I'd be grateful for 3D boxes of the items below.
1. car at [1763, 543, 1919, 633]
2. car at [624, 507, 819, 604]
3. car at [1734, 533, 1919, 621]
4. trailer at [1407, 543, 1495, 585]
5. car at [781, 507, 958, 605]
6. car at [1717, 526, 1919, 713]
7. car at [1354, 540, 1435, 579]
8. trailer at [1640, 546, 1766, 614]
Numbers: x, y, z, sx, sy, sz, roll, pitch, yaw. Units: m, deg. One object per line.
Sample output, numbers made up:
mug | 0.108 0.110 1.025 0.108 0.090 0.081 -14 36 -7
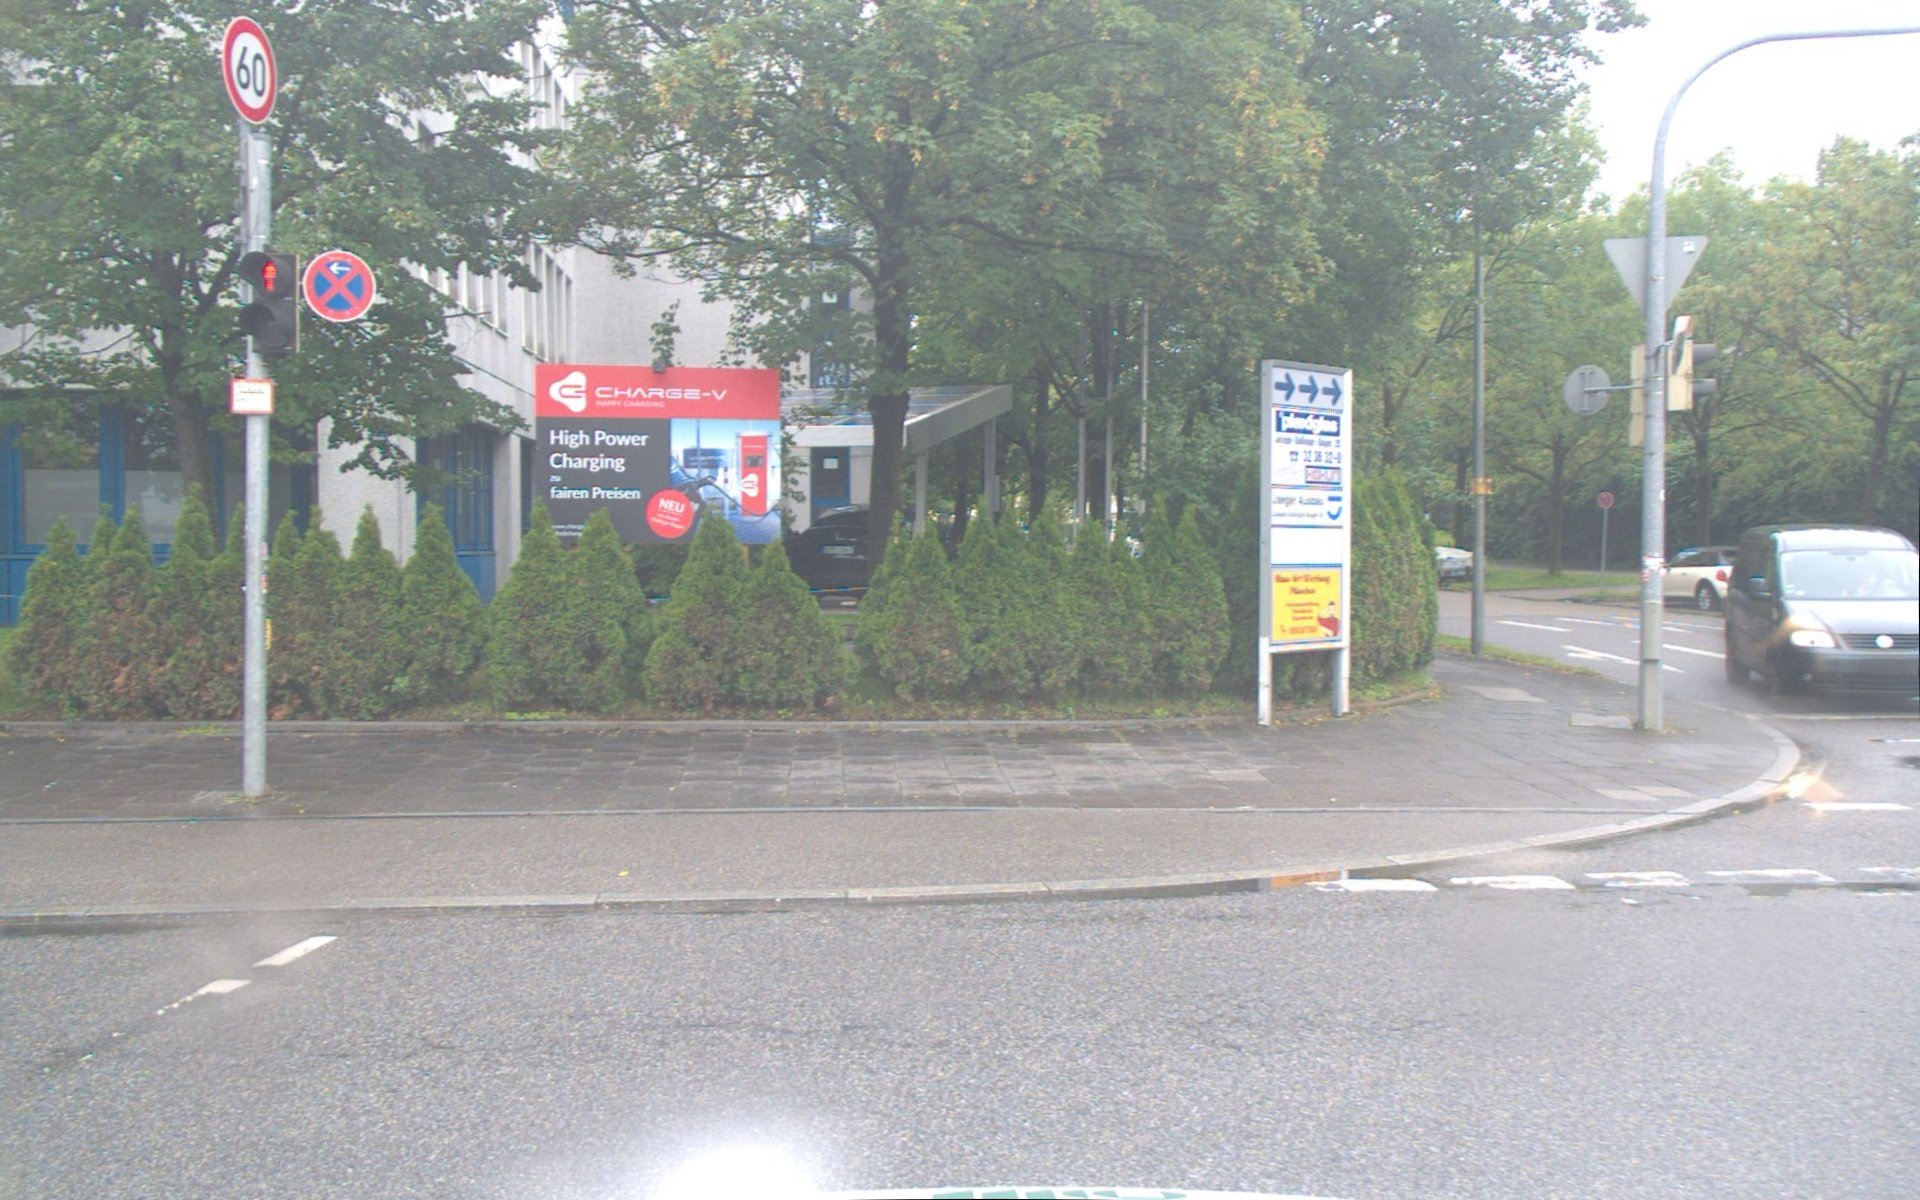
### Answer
car | 15.561 -0.217 27.996 3.200 1.468 1.667 1 1 12
car | -3.777 -0.790 26.979 1.824 1.443 4.182 1 3 12
car | 17.584 -0.491 33.467 1.722 1.602 4.163 -2 1 -2
trailer | 16.365 -1.221 55.276 1.524 1.284 3.418 -1 3 -8
car | -1.352 -0.771 26.584 1.824 1.443 4.182 1 3 12
car | 9.588 0.127 17.862 1.952 1.752 4.794 1 2 17
car | 15.612 -1.469 59.574 1.524 1.284 3.417 -1 3 -10
trailer | 17.410 -0.506 38.909 1.417 1.438 3.343 0 3 -1
